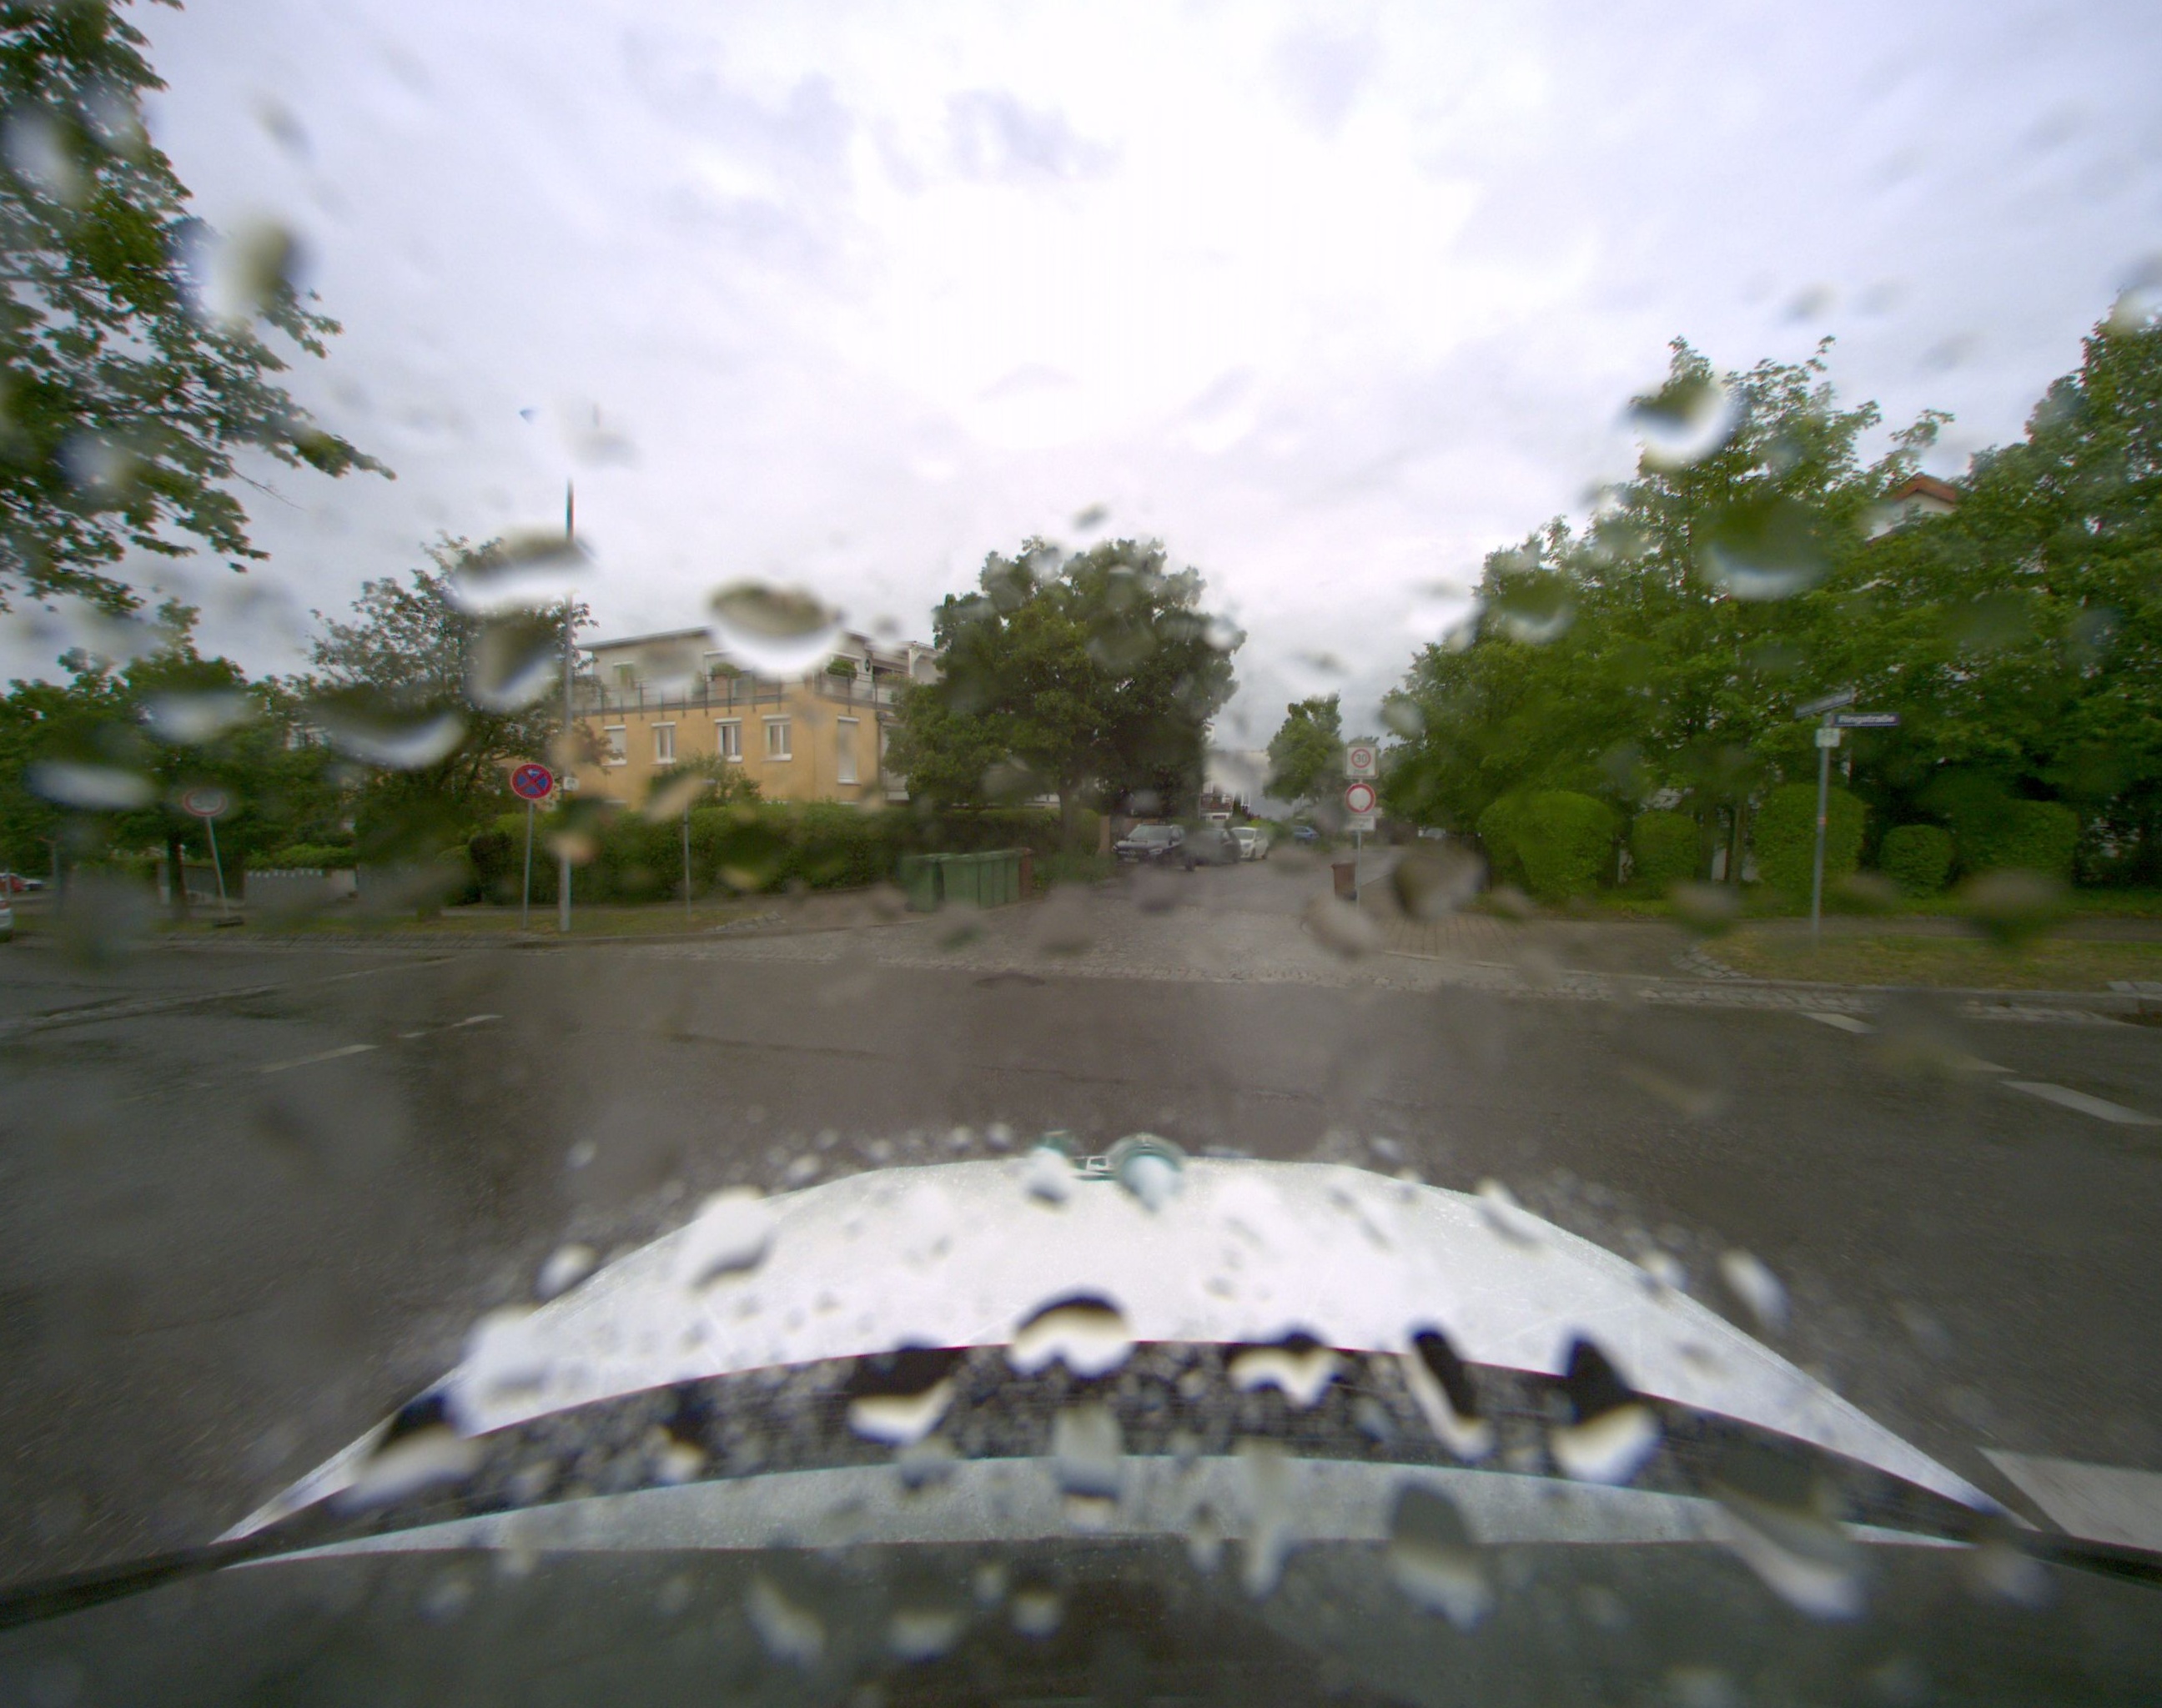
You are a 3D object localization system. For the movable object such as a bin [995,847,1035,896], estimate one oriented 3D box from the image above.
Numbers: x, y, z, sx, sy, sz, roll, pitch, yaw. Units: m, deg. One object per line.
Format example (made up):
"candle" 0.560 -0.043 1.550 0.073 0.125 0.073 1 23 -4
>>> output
"movable object such as a bin" -1.467 0.381 18.085 0.689 1.054 0.608 0 2 17

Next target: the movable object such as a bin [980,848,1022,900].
"movable object such as a bin" -1.685 0.420 17.298 0.689 1.054 0.608 0 2 17

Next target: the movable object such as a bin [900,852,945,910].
"movable object such as a bin" -3.058 0.517 15.753 0.660 1.073 0.546 0 2 18

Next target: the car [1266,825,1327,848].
"car" 15.272 -1.256 57.814 3.953 1.568 1.919 2 2 21

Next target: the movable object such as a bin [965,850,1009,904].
"movable object such as a bin" -1.929 0.453 16.725 0.689 1.067 0.582 0 2 17

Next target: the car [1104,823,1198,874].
"car" 2.433 -0.236 27.140 1.759 1.518 4.162 3 3 25

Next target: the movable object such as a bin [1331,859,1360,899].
"movable object such as a bin" 6.435 0.592 19.804 0.565 0.931 0.533 1 2 30

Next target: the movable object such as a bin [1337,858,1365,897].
"movable object such as a bin" 6.738 0.579 20.304 0.565 0.931 0.533 1 2 30

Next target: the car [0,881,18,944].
"car" -27.845 1.485 19.823 3.680 1.502 1.620 -2 0 25

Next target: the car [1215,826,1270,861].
"car" 7.360 -0.509 36.994 1.497 1.476 3.294 3 3 28

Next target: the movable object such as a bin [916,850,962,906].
"movable object such as a bin" -2.840 0.475 16.341 0.689 1.072 0.600 0 2 17

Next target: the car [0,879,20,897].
"car" -101.137 3.272 75.132 3.593 1.605 1.672 -5 2 -41

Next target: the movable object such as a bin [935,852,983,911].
"movable object such as a bin" -2.327 0.512 15.584 0.689 1.074 0.605 0 2 17

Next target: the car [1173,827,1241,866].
"car" 5.118 -0.346 32.665 1.620 1.408 3.626 3 3 26

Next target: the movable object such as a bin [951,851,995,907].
"movable object such as a bin" -2.135 0.481 16.168 0.689 1.074 0.546 0 2 17
